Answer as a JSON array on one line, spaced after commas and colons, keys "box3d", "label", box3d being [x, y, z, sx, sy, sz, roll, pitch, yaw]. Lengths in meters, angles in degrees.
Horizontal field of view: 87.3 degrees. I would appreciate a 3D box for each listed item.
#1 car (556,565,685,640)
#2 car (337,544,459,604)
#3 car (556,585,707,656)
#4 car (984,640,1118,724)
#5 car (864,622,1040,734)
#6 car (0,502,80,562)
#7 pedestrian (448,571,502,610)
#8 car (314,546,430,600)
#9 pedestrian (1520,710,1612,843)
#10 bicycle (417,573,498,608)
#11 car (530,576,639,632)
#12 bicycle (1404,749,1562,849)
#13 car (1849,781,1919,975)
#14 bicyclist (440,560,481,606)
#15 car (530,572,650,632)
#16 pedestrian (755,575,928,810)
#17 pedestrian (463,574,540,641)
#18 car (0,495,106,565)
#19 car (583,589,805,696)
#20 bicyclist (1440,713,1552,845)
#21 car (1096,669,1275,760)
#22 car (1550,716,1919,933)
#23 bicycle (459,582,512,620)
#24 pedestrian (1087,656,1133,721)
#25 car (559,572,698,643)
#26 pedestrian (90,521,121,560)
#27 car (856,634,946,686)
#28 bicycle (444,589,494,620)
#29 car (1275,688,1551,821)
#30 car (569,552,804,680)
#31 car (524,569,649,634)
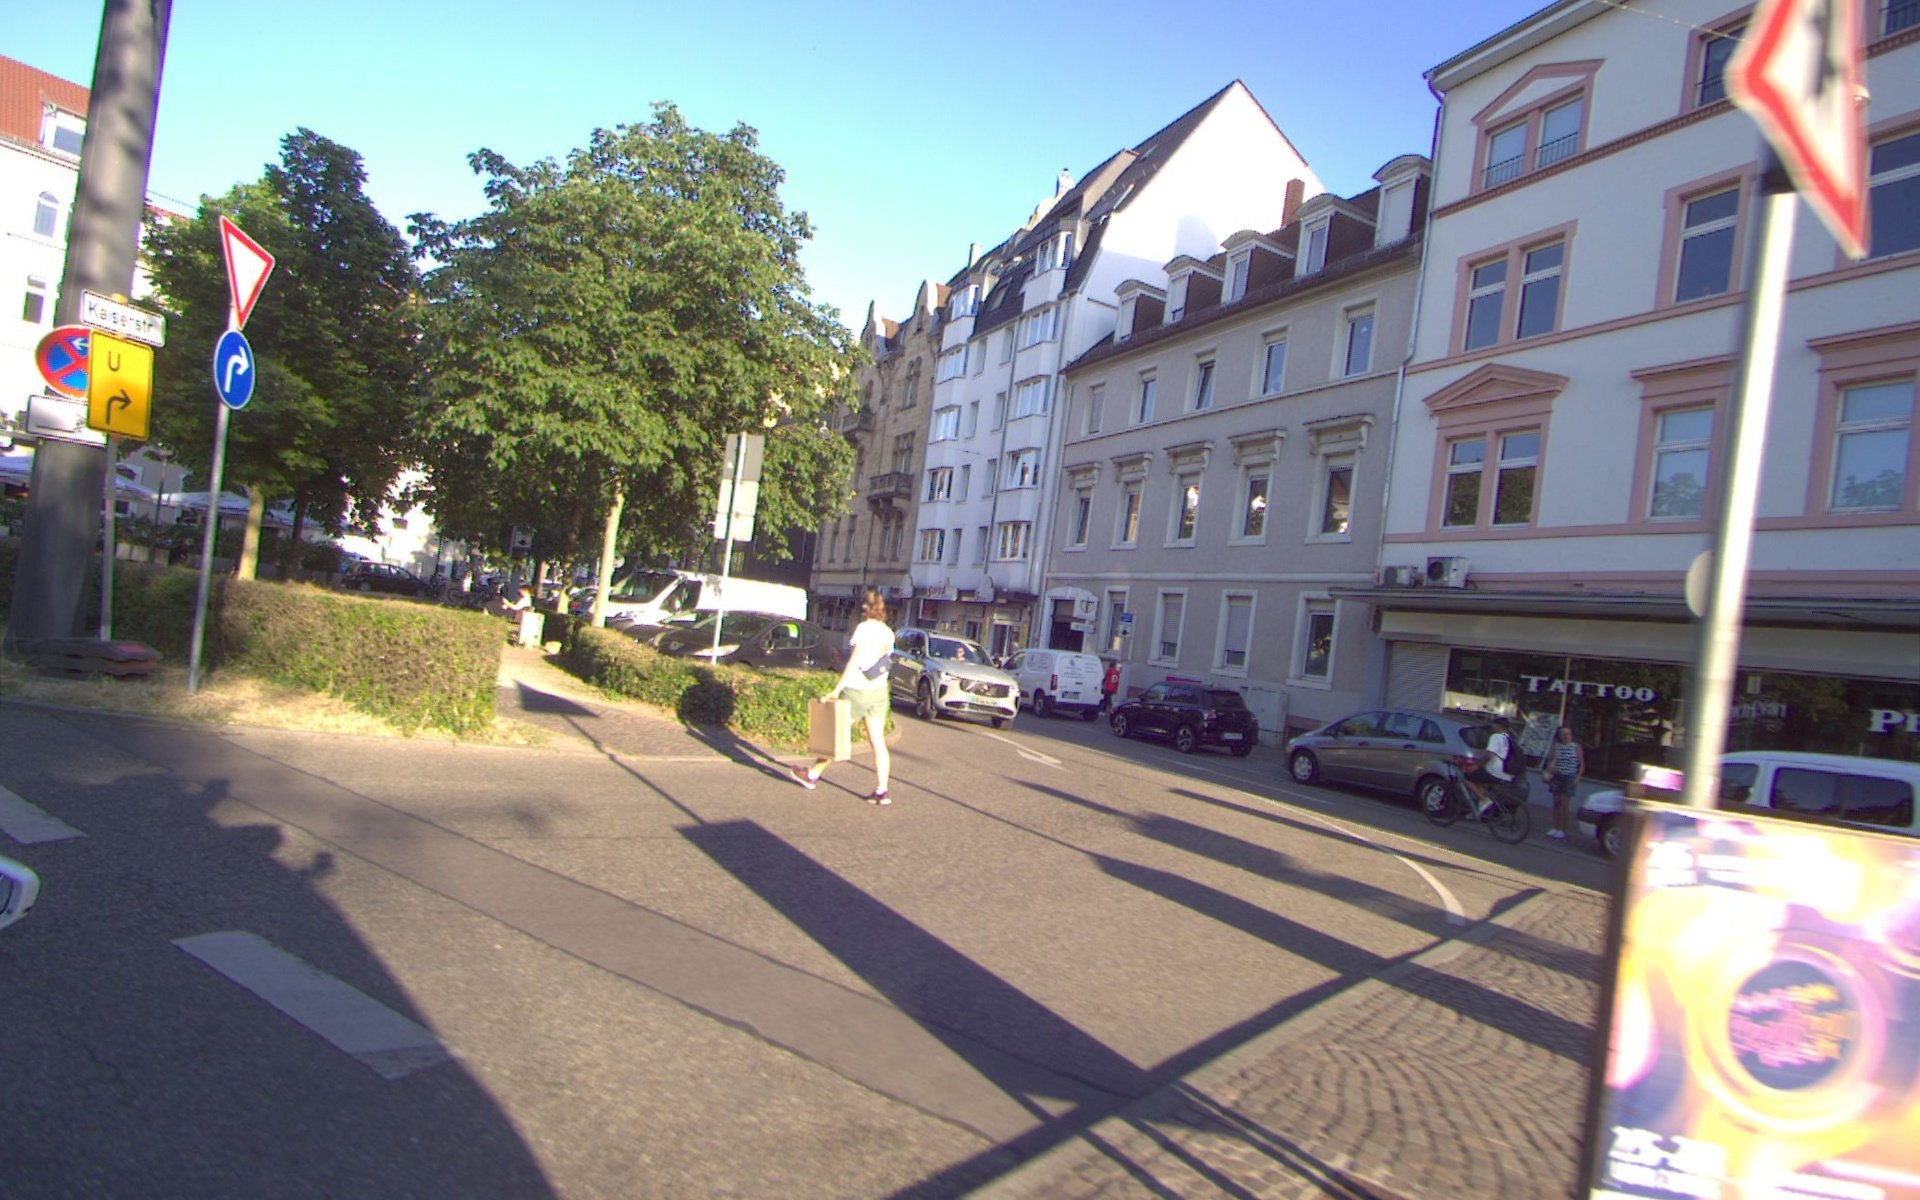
[{"box3d": [-12.101, 0.143, 36.124, 1.964, 2.035, 4.003, 7, -3, 25], "label": "car"}, {"box3d": [-26.235, -1.186, 47.066, 1.972, 2.036, 4.421, 6, -3, 41], "label": "car"}, {"box3d": [-9.585, 0.660, 29.691, 1.964, 1.502, 4.004, 7, -3, 23], "label": "car"}, {"box3d": [2.480, 2.264, 28.492, 1.927, 1.908, 3.978, 6, -2, -25], "label": "car"}, {"box3d": [-0.329, 1.549, 21.326, 1.974, 1.791, 4.690, 9, -3, -21], "label": "car"}, {"box3d": [-38.453, -2.916, 40.245, 1.994, 1.985, 4.499, 6, -3, 39], "label": "car"}, {"box3d": [-18.769, -0.362, 38.949, 1.426, 1.264, 1.034, 8, -2, 2], "label": "pedestrian"}, {"box3d": [-29.691, -1.321, 50.934, 1.994, 1.985, 4.499, 6, -3, 39], "label": "car"}, {"box3d": [9.079, 2.627, 15.088, 0.631, 1.820, 0.790, 9, -2, -26], "label": "pedestrian"}, {"box3d": [-23.725, -0.432, 47.549, 0.972, 1.144, 3.184, 6, -3, 42], "label": "bicycle"}, {"box3d": [-16.337, 0.182, 43.858, 3.964, 1.792, 1.897, 10, -3, -33], "label": "car"}, {"box3d": [7.370, 2.785, 14.264, 0.725, 1.023, 1.824, 9, -3, -26], "label": "bicycle"}, {"box3d": [9.439, 2.478, 7.184, 1.914, 1.502, 4.139, 9, -3, -25], "label": "car"}, {"box3d": [-23.626, -0.809, 47.573, 0.972, 1.938, 1.242, 6, -2, 43], "label": "bicyclist"}, {"box3d": [-15.040, 0.109, 41.015, 1.888, 1.792, 3.983, 6, -4, 44], "label": "car"}, {"box3d": [-0.979, 0.749, 8.350, 0.961, 1.750, 0.726, 7, -2, 32], "label": "pedestrian"}, {"box3d": [-10.024, 0.160, 22.045, 1.354, 1.239, 0.956, 9, -2, -23], "label": "pedestrian"}, {"box3d": [-34.530, -2.690, 36.924, 1.972, 2.036, 4.421, 6, -3, 41], "label": "car"}, {"box3d": [-5.240, 0.919, 20.336, 1.919, 1.621, 3.999, 7, -3, 30], "label": "car"}, {"box3d": [7.508, 2.490, 14.111, 0.713, 1.632, 1.004, 9, -2, -26], "label": "bicyclist"}, {"box3d": [5.039, 2.566, 23.046, 1.803, 1.510, 3.976, 7, -2, -26], "label": "car"}, {"box3d": [10.157, 2.675, 12.698, 1.909, 1.805, 4.204, 7, -2, -26], "label": "car"}, {"box3d": [-15.403, 0.035, 32.675, 1.455, 1.007, 0.323, 8, -1, -22], "label": "bicycle"}, {"box3d": [4.413, 2.588, 29.641, 0.749, 1.760, 0.901, 9, -2, -25], "label": "pedestrian"}, {"box3d": [-10.735, 0.292, 32.906, 1.964, 1.724, 4.003, 7, -3, 25], "label": "car"}, {"box3d": [-27.091, -1.881, 31.893, 0.552, 1.130, 0.490, 8, -2, -30], "label": "pedestrian"}, {"box3d": [-2.254, 2.206, 37.497, 1.927, 1.514, 3.978, 6, -2, -25], "label": "car"}, {"box3d": [-14.840, 0.139, 30.403, 1.260, 0.788, 0.443, 8, -2, -28], "label": "bicycle"}, {"box3d": [7.721, 2.602, 17.556, 1.974, 1.660, 3.978, 6, -1, -25], "label": "car"}, {"box3d": [-6.229, 0.456, 23.533, 2.062, 2.265, 4.872, 6, -3, 36], "label": "car"}, {"box3d": [-13.982, 0.100, 37.895, 1.879, 1.792, 4.001, 7, -3, 27], "label": "car"}]
